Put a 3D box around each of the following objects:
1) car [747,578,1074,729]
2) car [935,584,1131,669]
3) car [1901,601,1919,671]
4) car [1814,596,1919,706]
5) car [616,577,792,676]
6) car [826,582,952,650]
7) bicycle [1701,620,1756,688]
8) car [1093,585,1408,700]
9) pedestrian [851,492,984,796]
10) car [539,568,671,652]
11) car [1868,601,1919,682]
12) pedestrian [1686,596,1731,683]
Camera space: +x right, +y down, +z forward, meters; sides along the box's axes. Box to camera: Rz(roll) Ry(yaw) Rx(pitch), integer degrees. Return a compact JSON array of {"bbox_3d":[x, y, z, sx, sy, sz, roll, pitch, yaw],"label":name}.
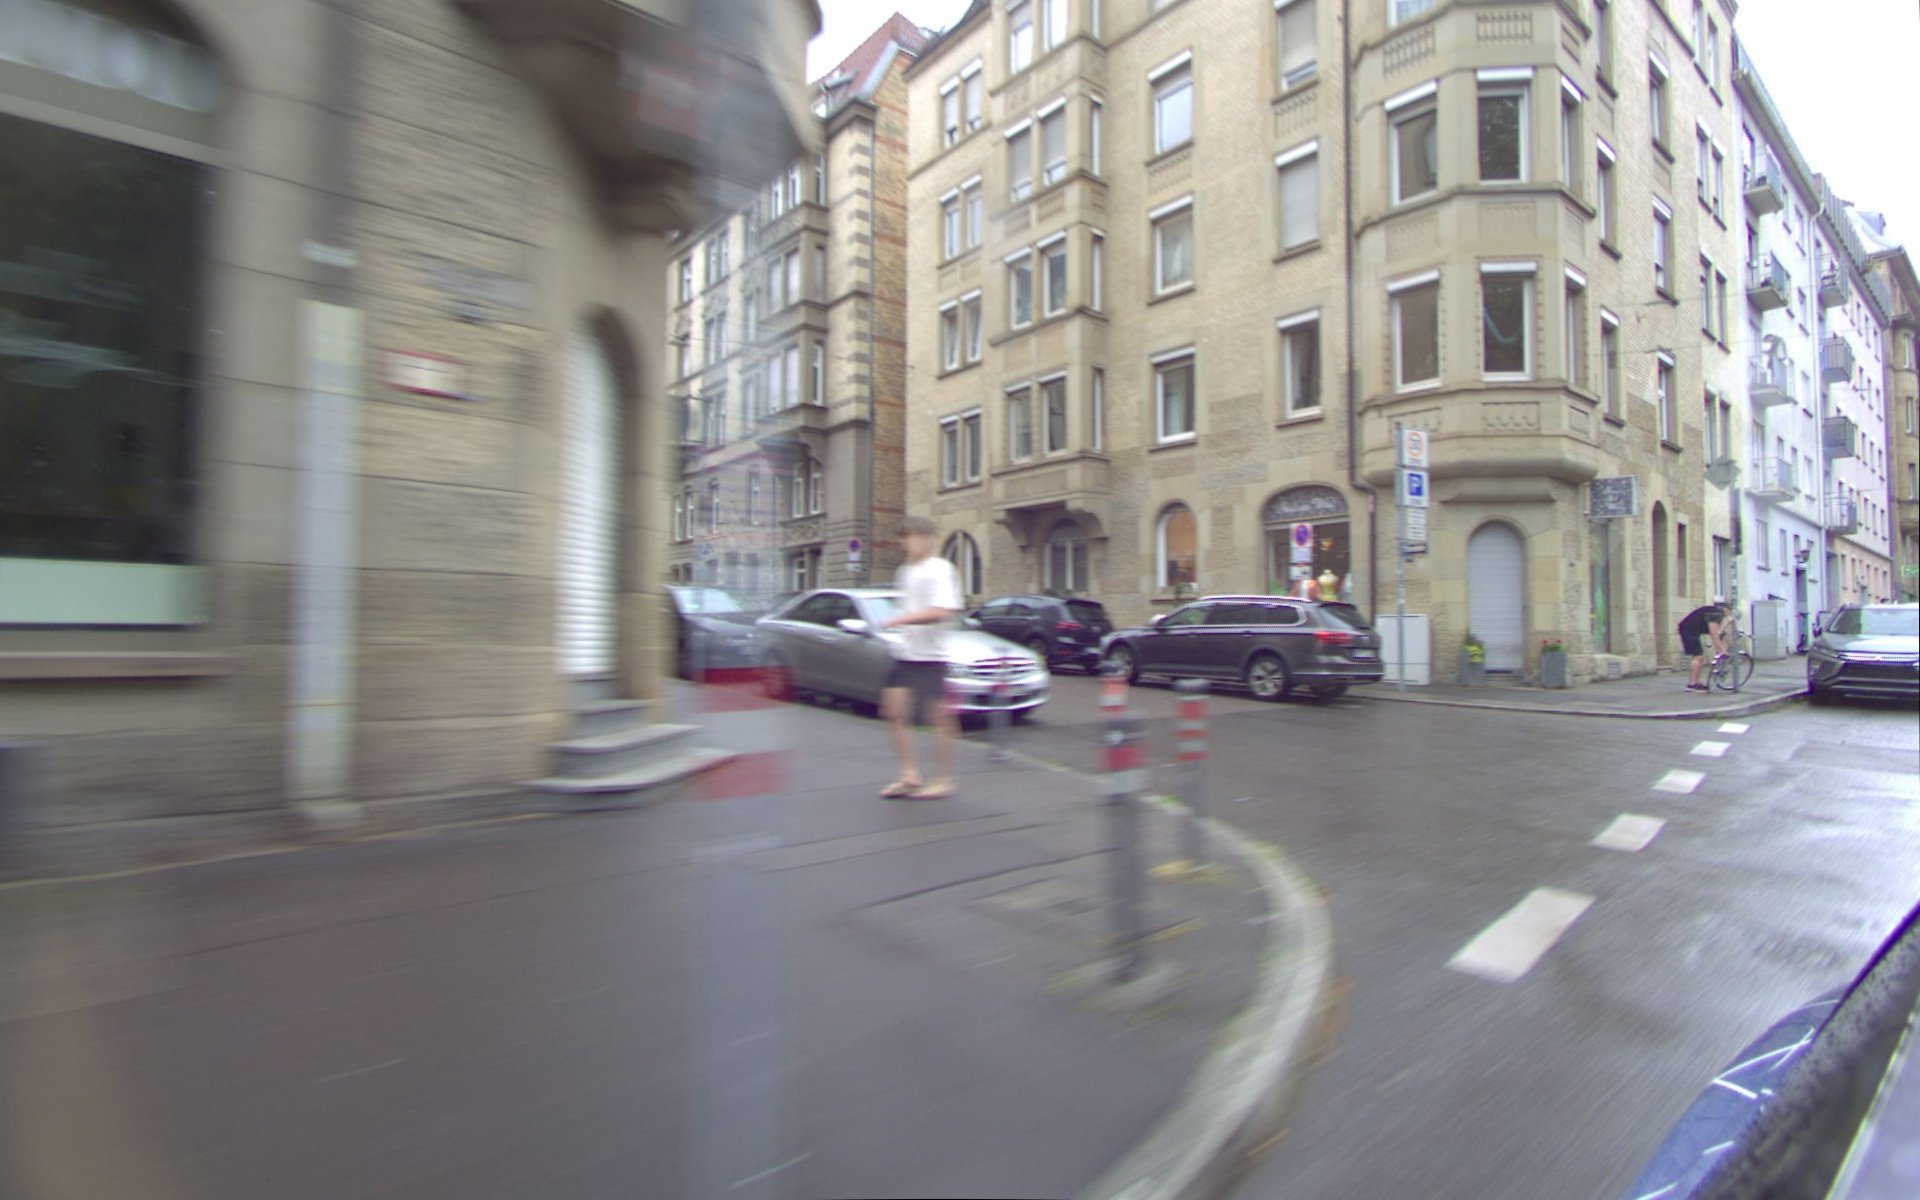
[{"bbox_3d":[-0.767,0.490,12.082,1.765,1.386,4.216,0,2,-38],"label":"car"},{"bbox_3d":[1.318,0.470,19.629,1.582,1.468,3.844,3,-1,-38],"label":"car"},{"bbox_3d":[23.268,0.805,23.473,3.931,1.535,1.744,0,0,-41],"label":"car"},{"bbox_3d":[15.294,0.742,16.391,3.932,1.606,1.743,0,0,-42],"label":"car"},{"bbox_3d":[-4.190,0.347,16.207,1.466,1.344,3.658,0,2,-36],"label":"car"},{"bbox_3d":[-1.708,0.342,23.615,1.451,1.461,3.040,3,-1,-38],"label":"car"},{"bbox_3d":[12.420,0.848,16.341,1.645,1.026,0.339,0,2,-40],"label":"bicycle"},{"bbox_3d":[4.319,0.561,15.690,1.746,1.518,4.507,3,-1,-39],"label":"car"},{"bbox_3d":[-0.268,0.255,6.308,0.564,1.774,0.579,1,0,-41],"label":"pedestrian"},{"bbox_3d":[-7.158,0.118,20.229,1.466,1.478,3.658,-2,3,-36],"label":"car"},{"bbox_3d":[19.809,0.794,20.447,3.931,1.535,1.744,0,0,-41],"label":"car"},{"bbox_3d":[12.150,0.627,16.436,0.504,1.388,0.402,0,0,23],"label":"pedestrian"}]
